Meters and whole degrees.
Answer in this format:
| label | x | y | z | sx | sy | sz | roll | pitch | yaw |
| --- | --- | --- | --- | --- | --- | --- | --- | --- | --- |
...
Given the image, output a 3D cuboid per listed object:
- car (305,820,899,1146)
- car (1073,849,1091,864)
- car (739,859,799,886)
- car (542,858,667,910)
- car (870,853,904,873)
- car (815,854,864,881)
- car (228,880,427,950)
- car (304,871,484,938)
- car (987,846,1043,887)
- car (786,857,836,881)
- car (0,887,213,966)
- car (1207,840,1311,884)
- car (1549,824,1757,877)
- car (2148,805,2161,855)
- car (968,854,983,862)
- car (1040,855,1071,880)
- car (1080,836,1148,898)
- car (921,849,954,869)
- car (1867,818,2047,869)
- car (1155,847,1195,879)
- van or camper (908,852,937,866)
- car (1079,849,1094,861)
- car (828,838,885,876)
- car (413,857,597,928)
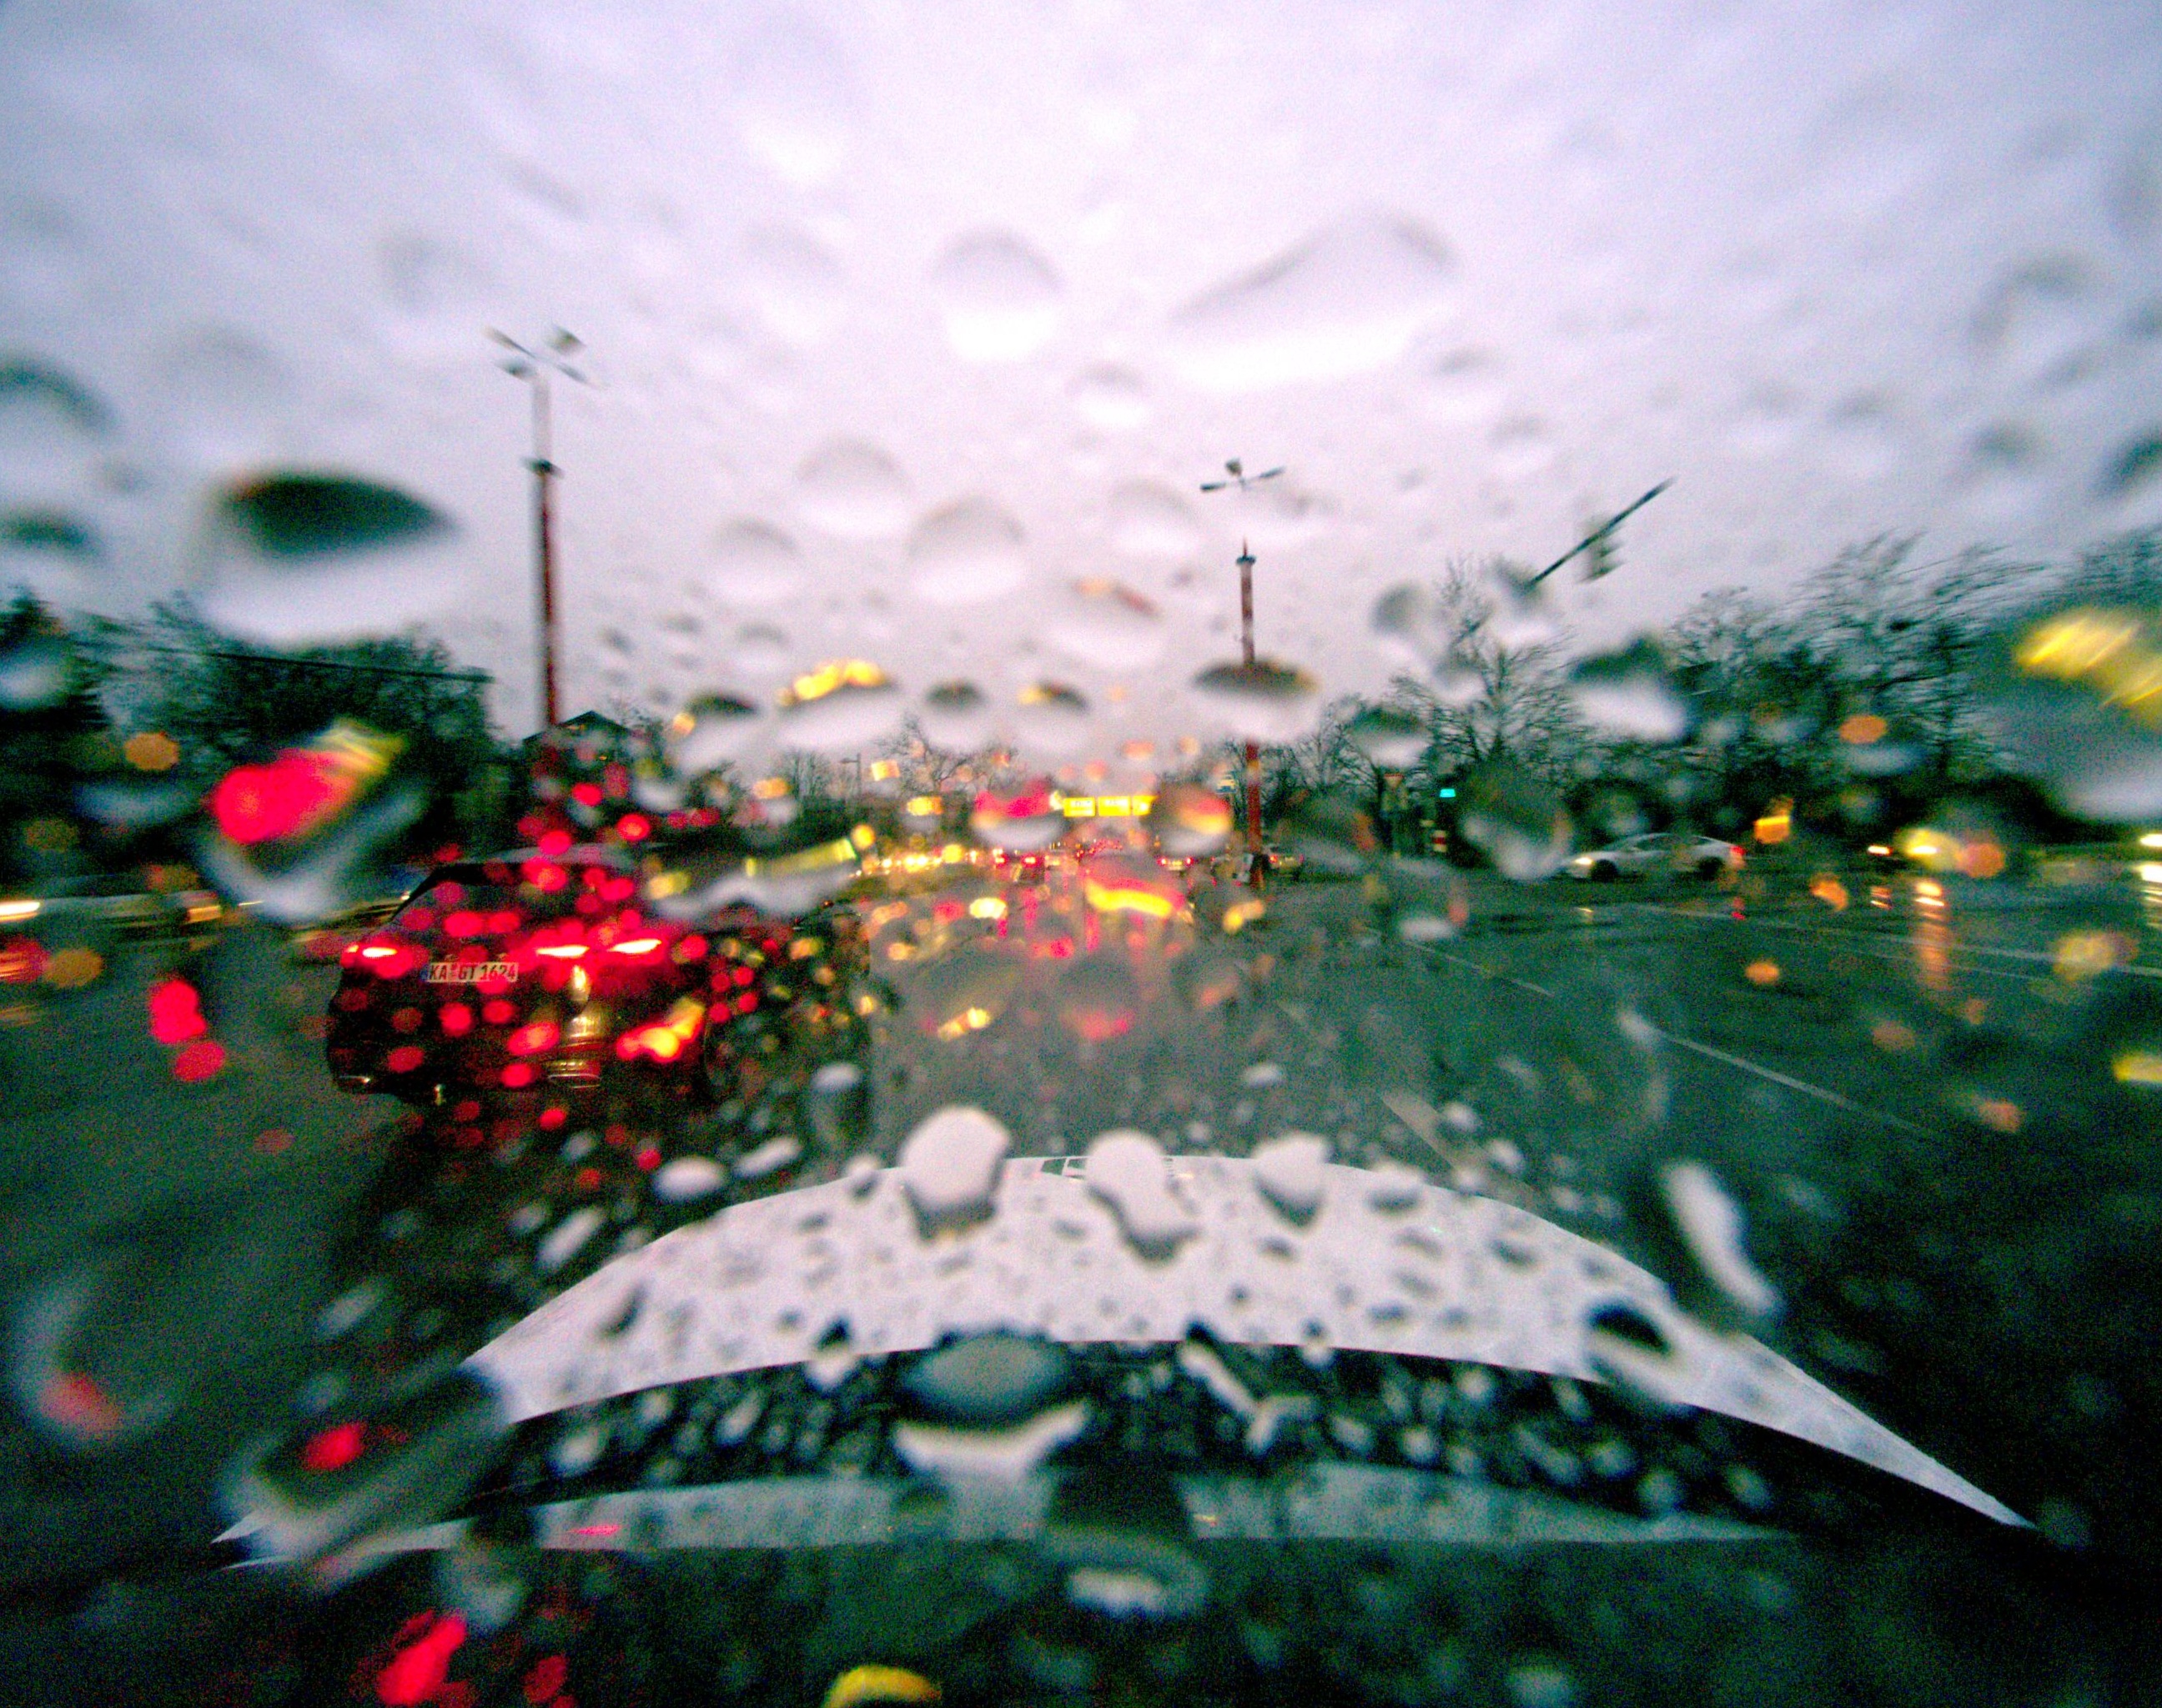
| label | x | y | z | sx | sy | sz | roll | pitch | yaw |
| --- | --- | --- | --- | --- | --- | --- | --- | --- | --- |
| car | -2.988 | 0.663 | 6.440 | 1.814 | 1.648 | 4.470 | -2 | 0 | 3 |
| car | 0.118 | 0.246 | 75.970 | 1.499 | 1.339 | 4.004 | -2 | 0 | 3 |
| car | -19.452 | 1.122 | 50.999 | 1.763 | 1.489 | 4.652 | -2 | 1 | 2 |
| car | -17.186 | 1.027 | 29.650 | 1.850 | 1.598 | 4.289 | -2 | 1 | 2 |
| car | -17.830 | 0.839 | 75.094 | 1.787 | 1.659 | 4.008 | 0 | 2 | 6 |
| car | -15.662 | 0.827 | 52.987 | 1.763 | 1.586 | 4.035 | -2 | 1 | 2 |
| car | -20.777 | 1.614 | 22.719 | 1.763 | 1.553 | 3.948 | -2 | 1 | 1 |
| car | -17.325 | 1.223 | 20.754 | 1.645 | 1.420 | 3.328 | -2 | 1 | 2 |
| car | -2.786 | 0.502 | 35.228 | 1.814 | 1.648 | 4.004 | -2 | 0 | 3 |
| car | -19.122 | 1.048 | 57.914 | 1.762 | 1.536 | 4.451 | -2 | 1 | 4 |
| car | -24.309 | 1.695 | 19.917 | 1.611 | 1.495 | 4.022 | -2 | 1 | 5 |
| car | 7.112 | 0.301 | 32.981 | 1.824 | 1.618 | 4.375 | -2 | 0 | -24 |
| car | 16.860 | -0.089 | 24.270 | 4.708 | 1.376 | 1.889 | -2 | 0 | 11 |
| car | 37.250 | -0.852 | 26.433 | 3.879 | 1.635 | 1.651 | -2 | 0 | -12 |
| car | -19.793 | 0.786 | 153.384 | 1.985 | 1.477 | 4.077 | -1 | 0 | 4 |
| car | -1.808 | 0.944 | 58.740 | 1.814 | 1.648 | 4.004 | -2 | 0 | 3 |
| car | 1.043 | 0.349 | 24.809 | 1.814 | 1.648 | 4.470 | -2 | 0 | 3 |
| car | -12.020 | 0.417 | 68.435 | 1.763 | 1.536 | 4.843 | -2 | 1 | 2 |
| car | 25.527 | -0.309 | 23.779 | 3.986 | 1.309 | 1.632 | -2 | 0 | -9 |
| car | 5.155 | 0.482 | 45.044 | 1.925 | 1.648 | 4.470 | 0 | 0 | 3 |
| van or camper | -17.495 | 0.562 | 90.235 | 1.896 | 1.446 | 5.162 | -1 | 0 | 3 |
| car | 0.808 | 0.151 | 111.094 | 1.814 | 1.504 | 4.004 | -2 | 0 | 3 |
| car | -18.777 | 0.275 | 68.465 | 2.281 | 3.005 | 7.354 | 0 | 0 | 4 |
| car | -14.959 | 0.934 | 21.477 | 1.850 | 1.581 | 4.080 | -2 | 1 | 1 |
